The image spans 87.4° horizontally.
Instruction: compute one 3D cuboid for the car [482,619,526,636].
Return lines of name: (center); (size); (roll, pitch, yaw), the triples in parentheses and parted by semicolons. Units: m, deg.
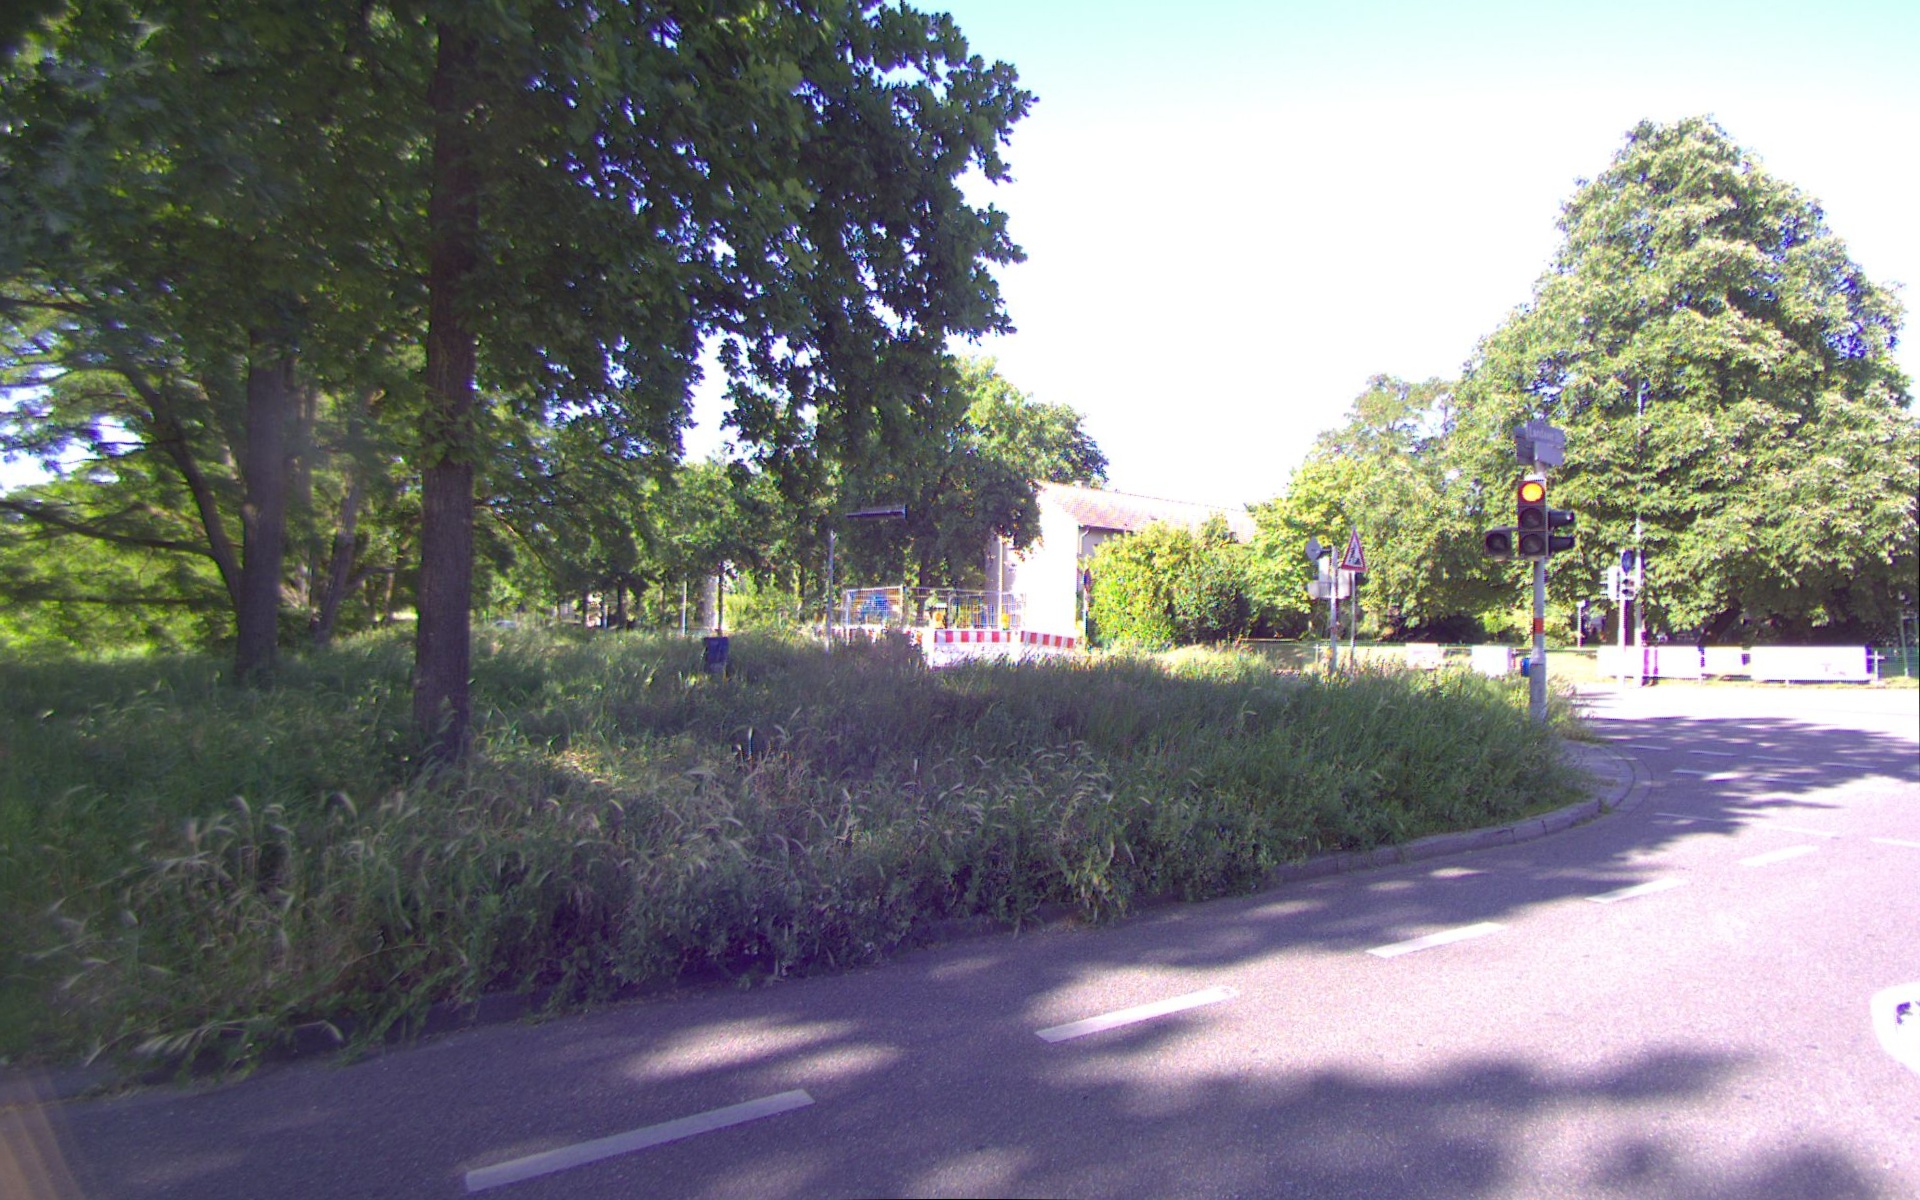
car: (-47.372, 2.859, 104.499); (3.939, 1.673, 1.991); (2, 0, -20)
